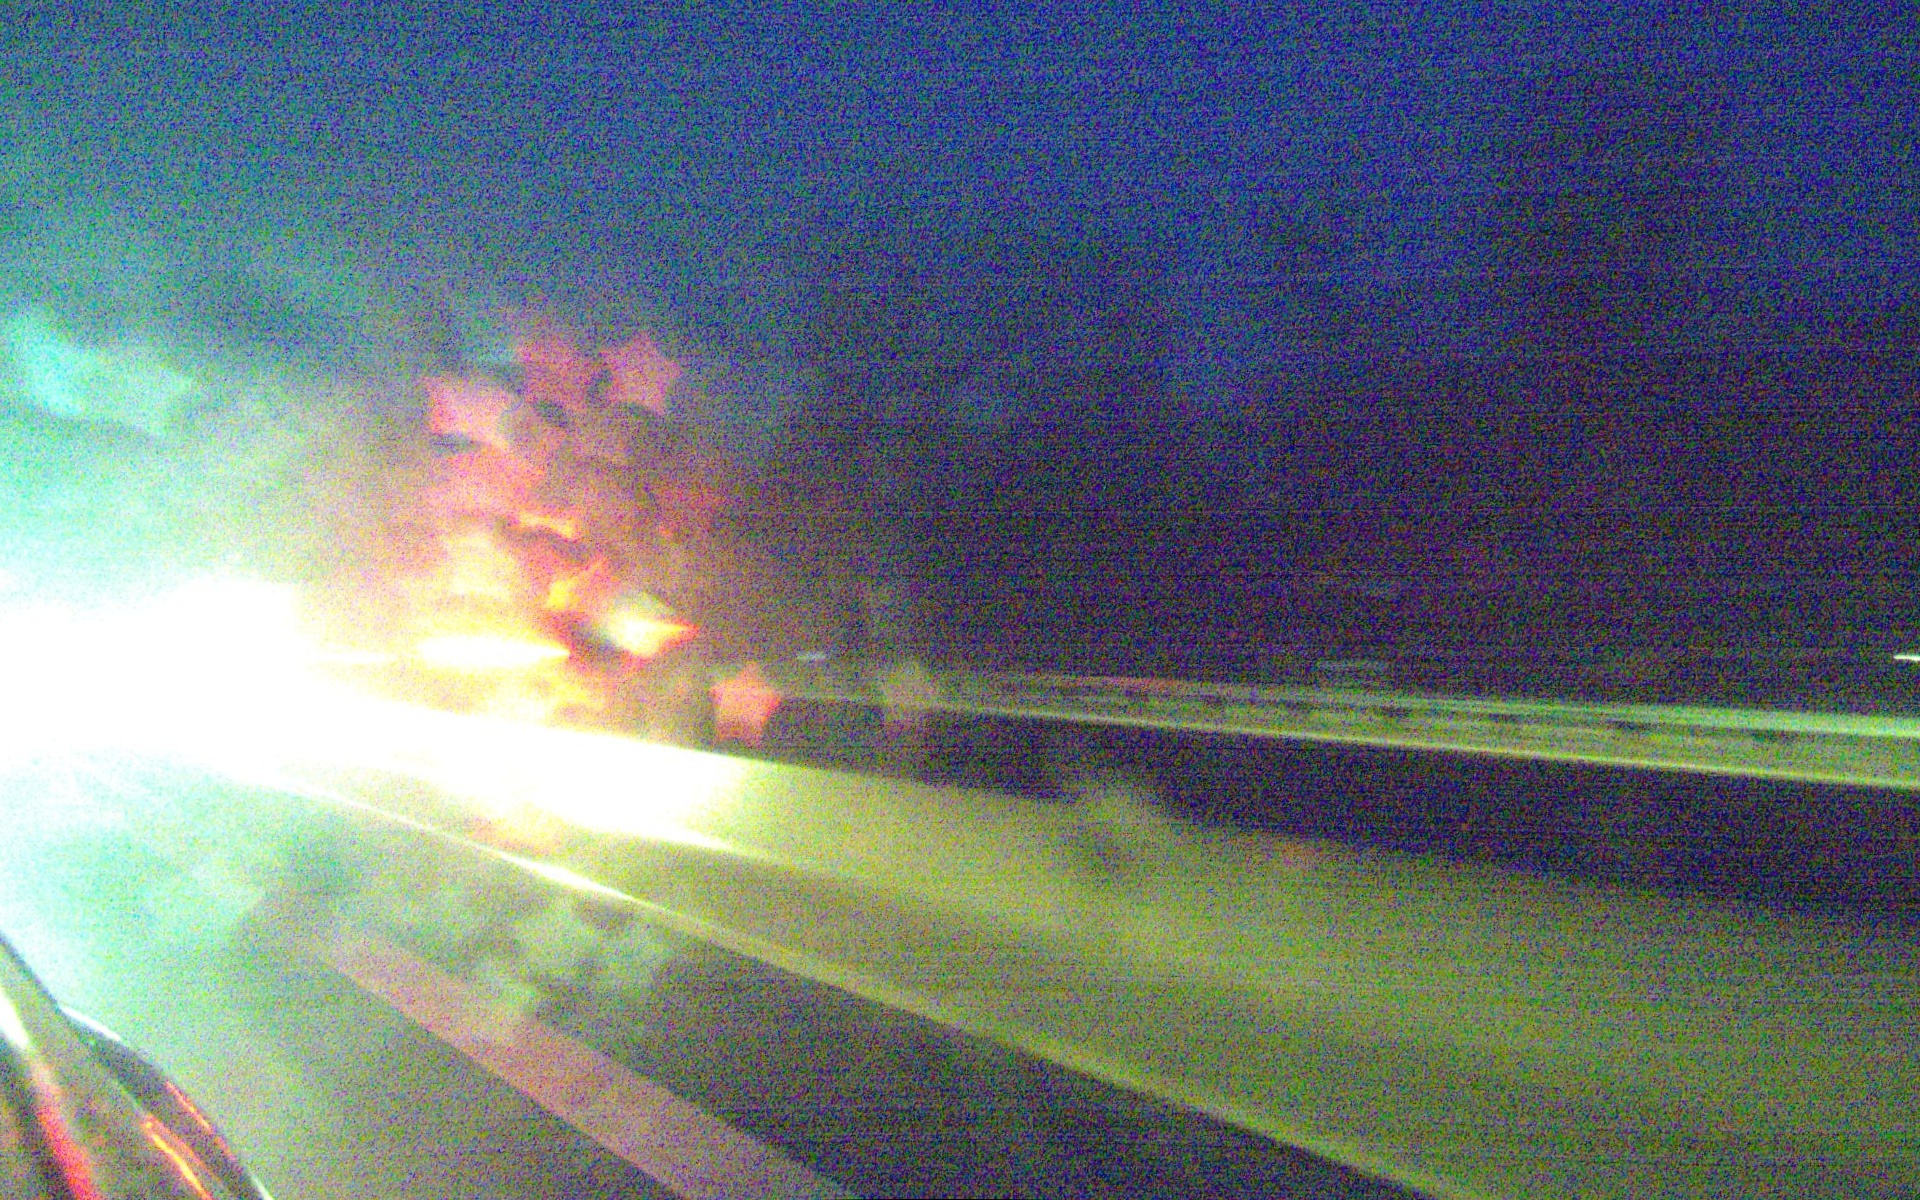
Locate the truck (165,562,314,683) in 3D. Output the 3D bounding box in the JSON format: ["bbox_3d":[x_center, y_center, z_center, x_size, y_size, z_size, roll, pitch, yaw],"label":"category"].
[{"bbox_3d":[-41.895,1.155,58.415,16.617,6.149,3.294,0,0,41],"label":"truck"}]

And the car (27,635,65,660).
[{"bbox_3d":[-79.989,4.094,88.543,3.998,2.029,1.973,-1,0,41],"label":"car"}]

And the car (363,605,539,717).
[{"bbox_3d":[-10.265,1.154,20.306,3.997,2.029,1.726,-2,-2,40],"label":"car"}]
